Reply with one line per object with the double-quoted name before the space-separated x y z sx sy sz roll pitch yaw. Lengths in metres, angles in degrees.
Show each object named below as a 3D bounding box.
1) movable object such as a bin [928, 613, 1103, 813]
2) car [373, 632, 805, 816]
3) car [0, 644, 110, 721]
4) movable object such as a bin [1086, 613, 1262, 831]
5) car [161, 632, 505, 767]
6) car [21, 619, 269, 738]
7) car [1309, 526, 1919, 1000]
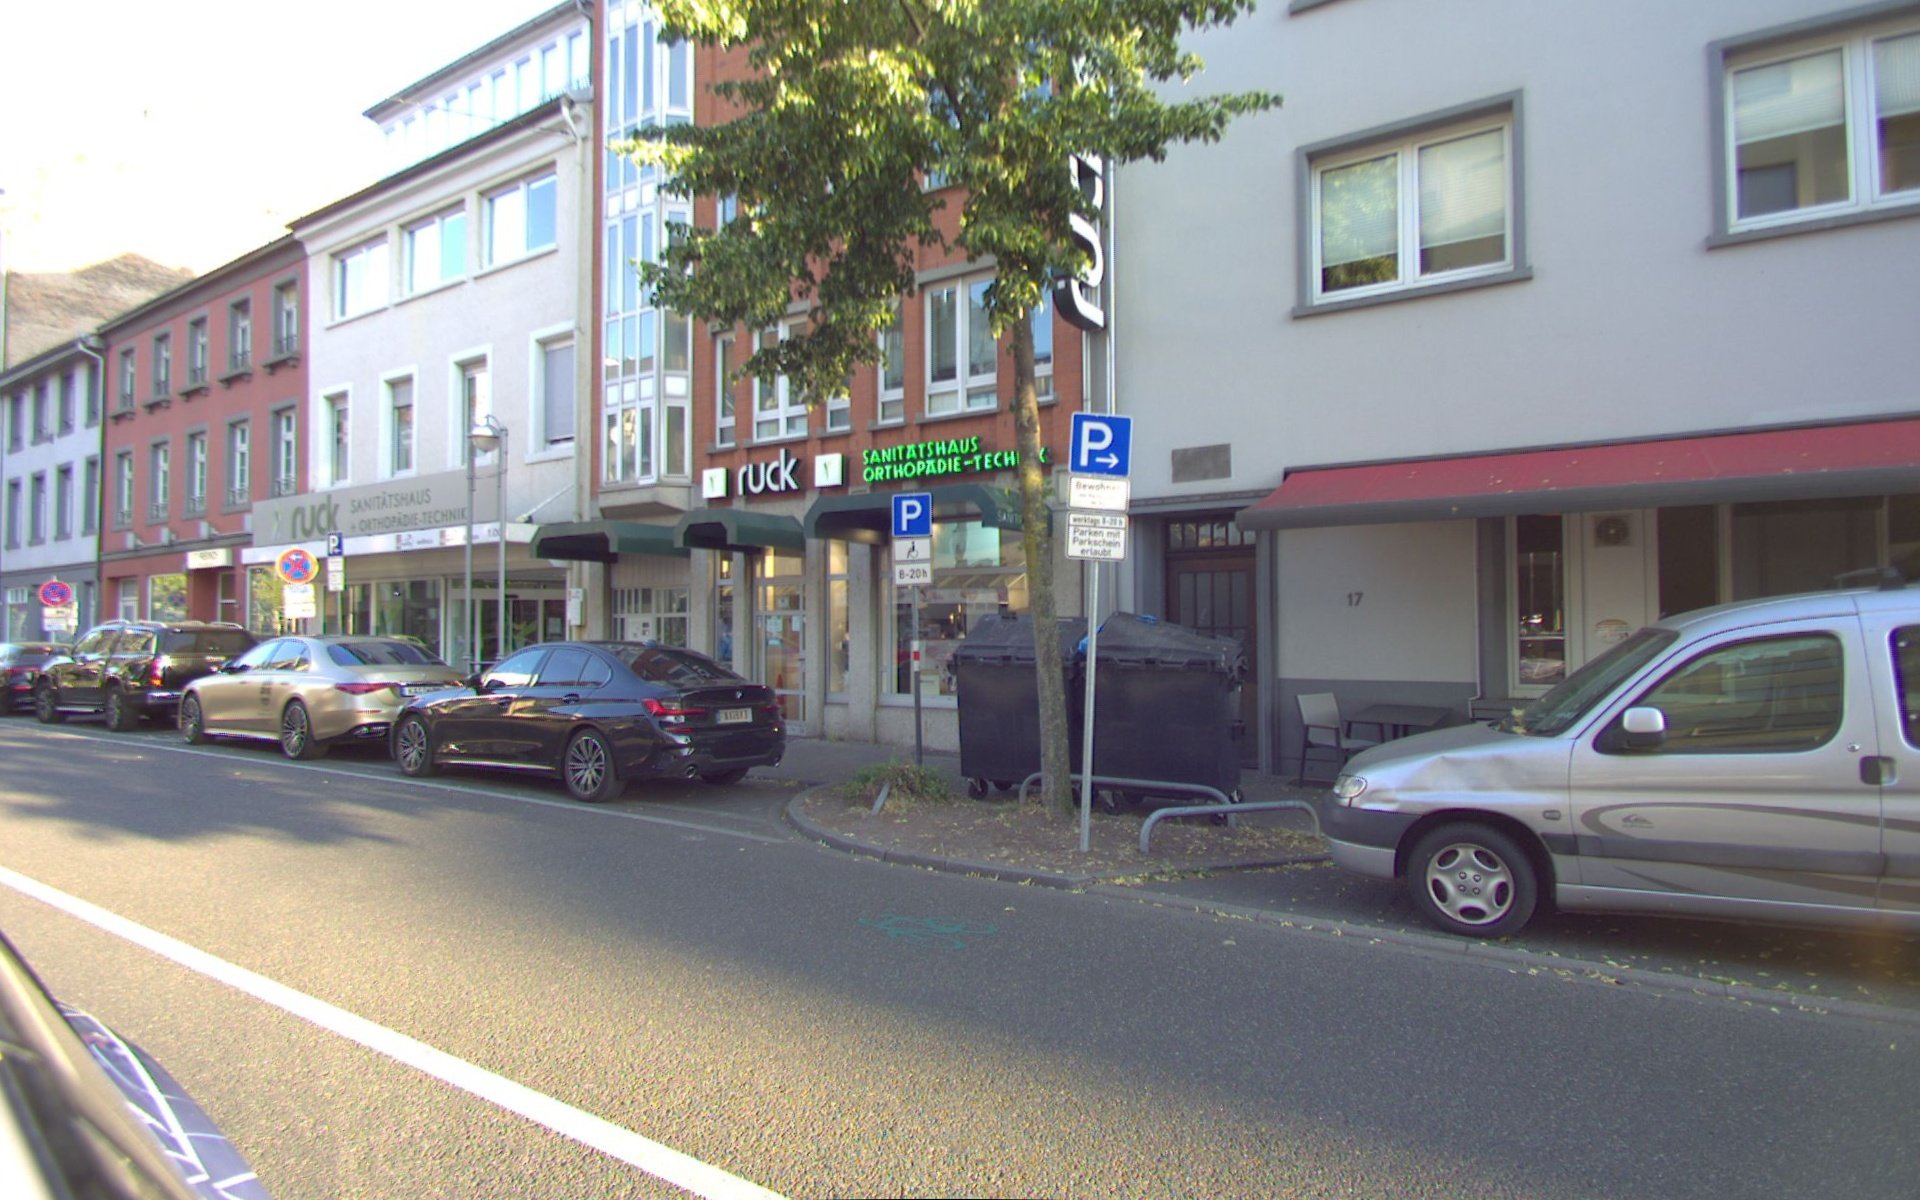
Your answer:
"movable object such as a bin" 0.493 0.949 9.021 1.331 1.632 0.775 -1 -1 30
"car" -3.837 1.111 10.189 4.528 1.484 1.706 -2 -5 33
"car" -19.288 1.651 20.715 4.001 1.448 1.688 -2 -5 32
"movable object such as a bin" 1.752 0.936 8.270 1.203 1.632 0.775 -1 0 30
"car" -8.445 1.226 13.465 5.094 1.484 1.977 -2 -4 34
"car" -14.043 1.291 17.360 4.921 1.793 1.708 -2 -4 31
"car" 3.977 0.704 4.985 4.038 1.902 1.657 -1 -4 31
